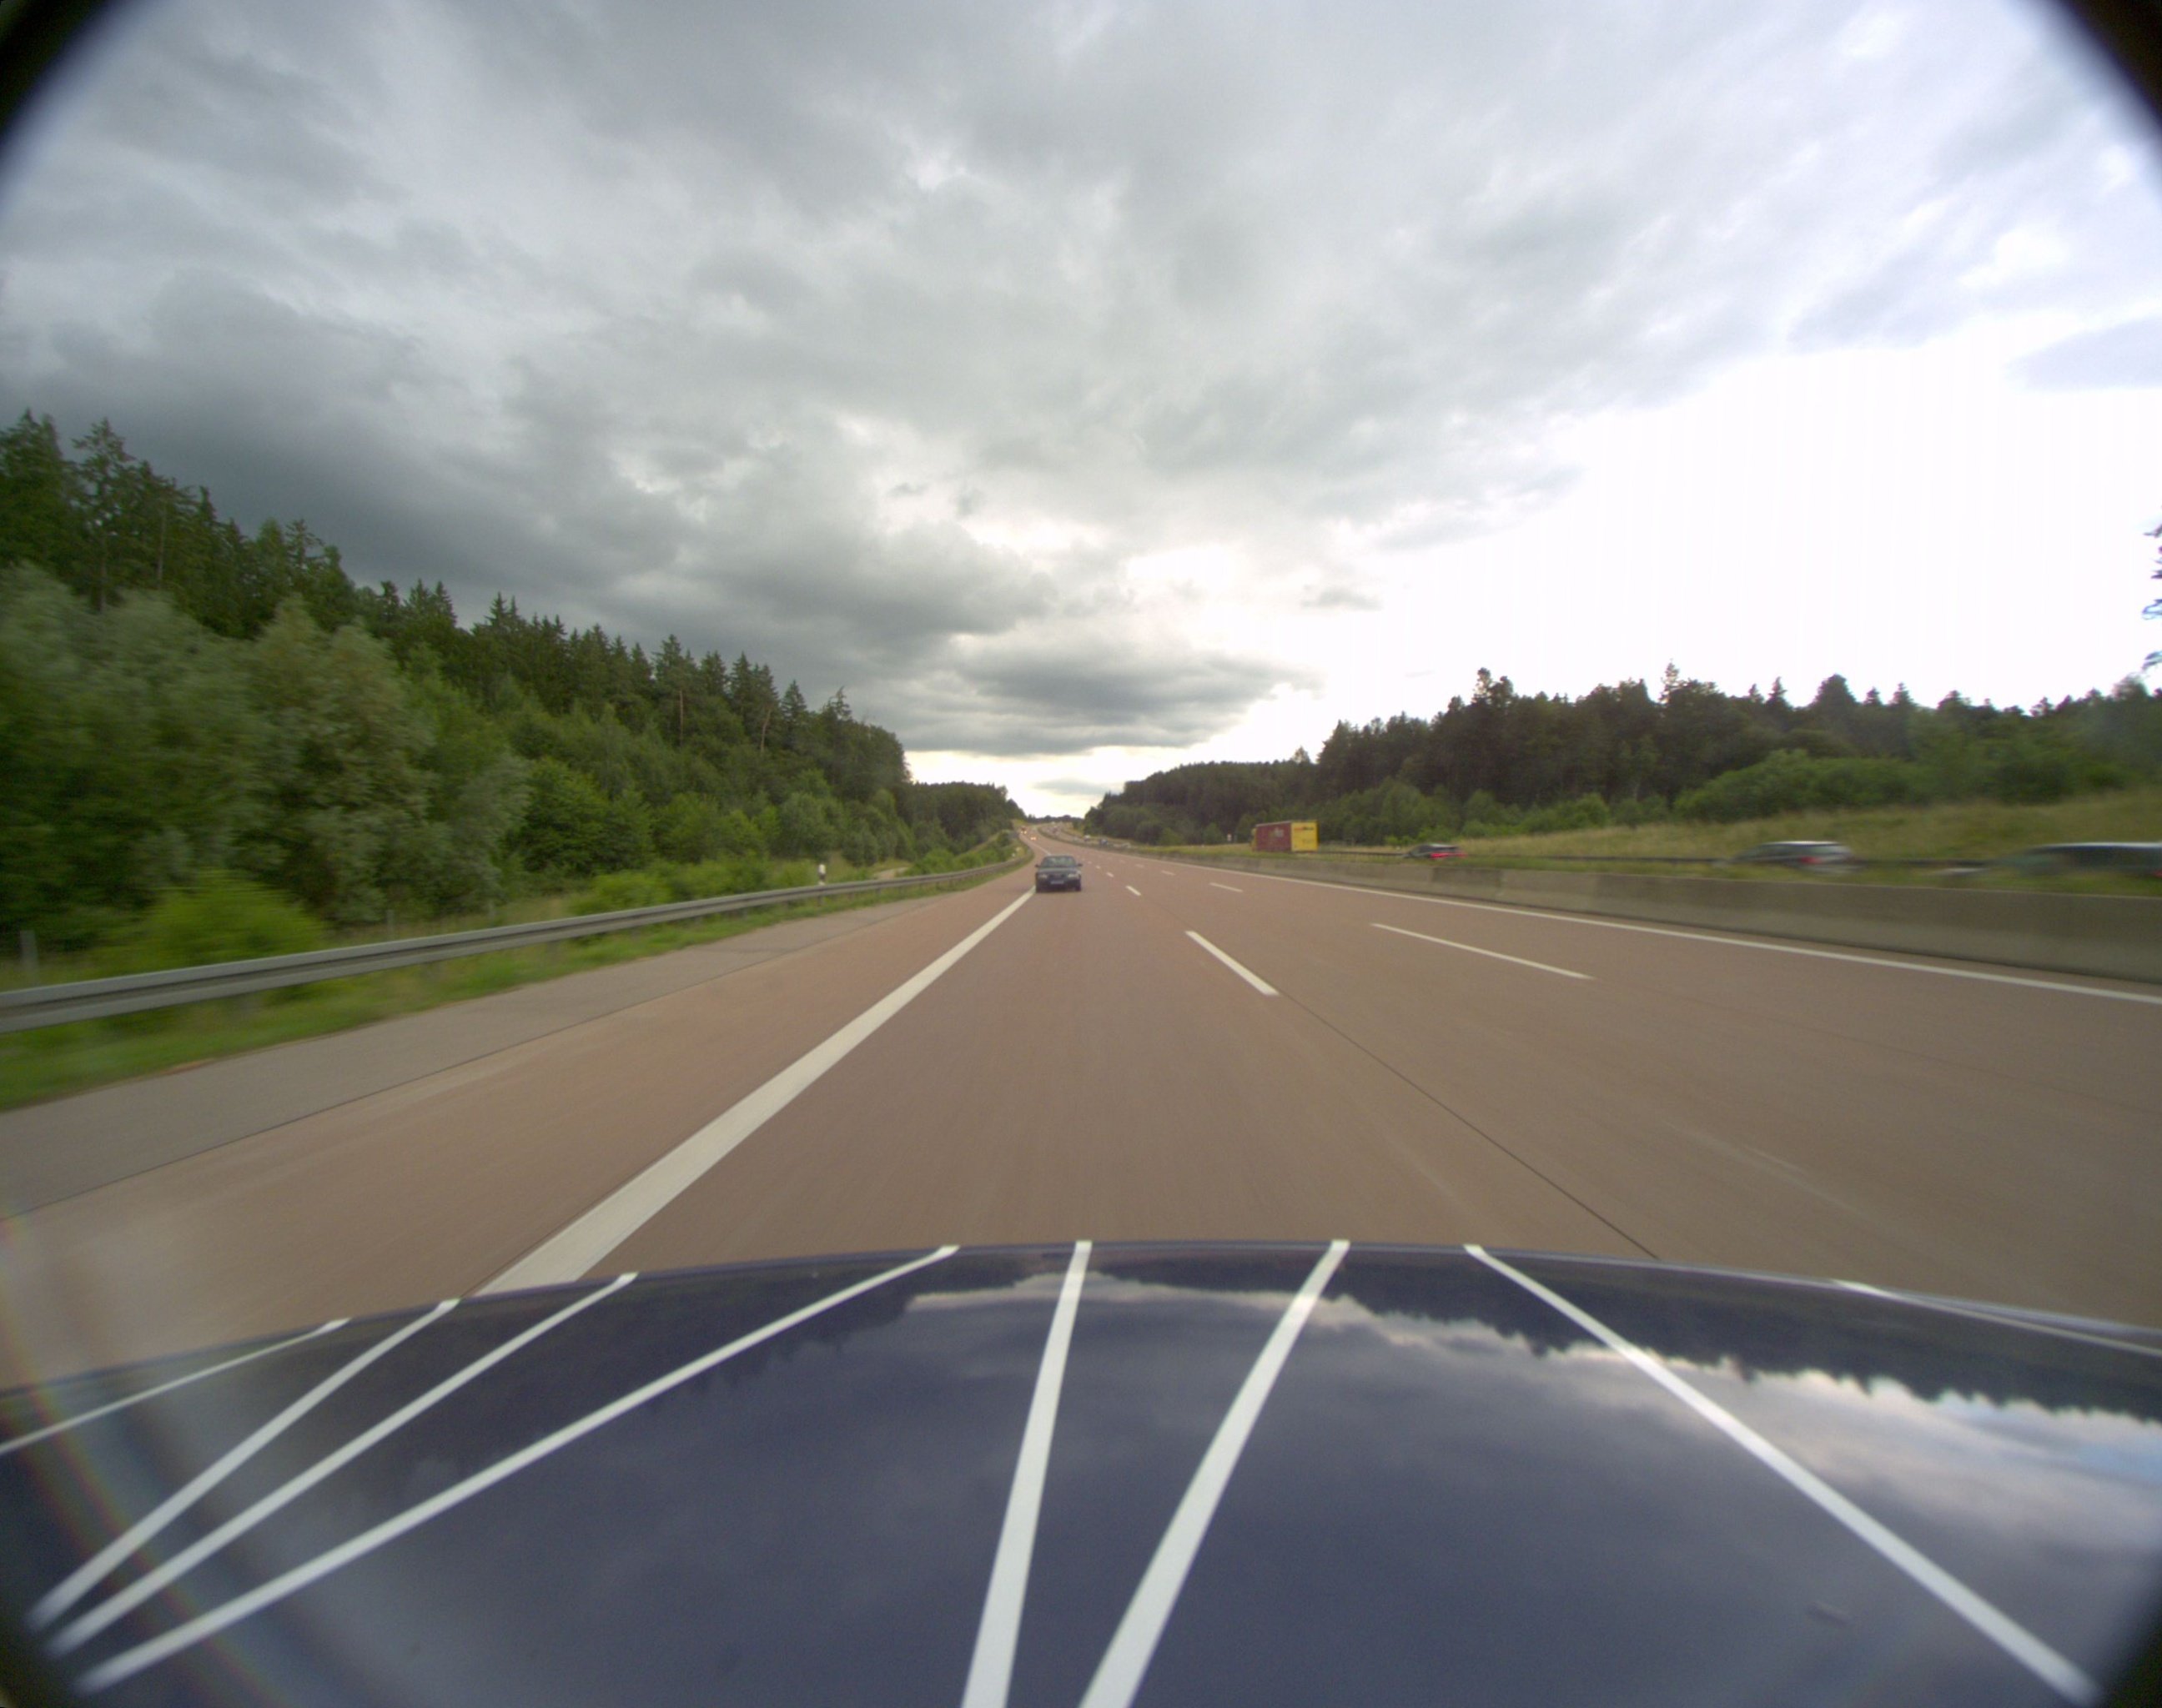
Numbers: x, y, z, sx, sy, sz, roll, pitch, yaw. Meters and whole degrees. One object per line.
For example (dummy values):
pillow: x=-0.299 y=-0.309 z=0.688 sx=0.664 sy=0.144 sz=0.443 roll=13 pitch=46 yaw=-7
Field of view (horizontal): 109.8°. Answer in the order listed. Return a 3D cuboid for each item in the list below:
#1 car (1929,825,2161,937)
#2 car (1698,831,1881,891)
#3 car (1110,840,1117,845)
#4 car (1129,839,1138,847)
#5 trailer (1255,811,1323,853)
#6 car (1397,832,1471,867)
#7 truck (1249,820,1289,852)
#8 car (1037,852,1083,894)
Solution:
car: x=18.396 y=0.398 z=13.683 sx=1.811 sy=1.805 sz=4.000 roll=-1 pitch=1 yaw=1
car: x=22.346 y=0.140 z=24.244 sx=1.767 sy=1.629 sz=4.379 roll=-2 pitch=2 yaw=1
car: x=8.687 y=-2.985 z=201.912 sx=1.529 sy=1.395 sz=3.552 roll=-1 pitch=1 yaw=-4
car: x=11.762 y=-2.417 z=169.853 sx=1.571 sy=1.558 sz=3.410 roll=-2 pitch=2 yaw=-2
trailer: x=22.382 y=-2.235 z=82.920 sx=3.041 sy=4.018 sz=14.527 roll=-2 pitch=0 yaw=-1
car: x=18.615 y=-0.283 z=40.288 sx=1.767 sy=1.629 sz=4.378 roll=-2 pitch=2 yaw=-1
truck: x=22.213 y=-2.057 z=90.049 sx=3.020 sy=3.561 sz=6.056 roll=-2 pitch=0 yaw=-1
car: x=-0.773 y=0.693 z=30.173 sx=1.676 sy=1.395 sz=4.231 roll=-1 pitch=2 yaw=0
